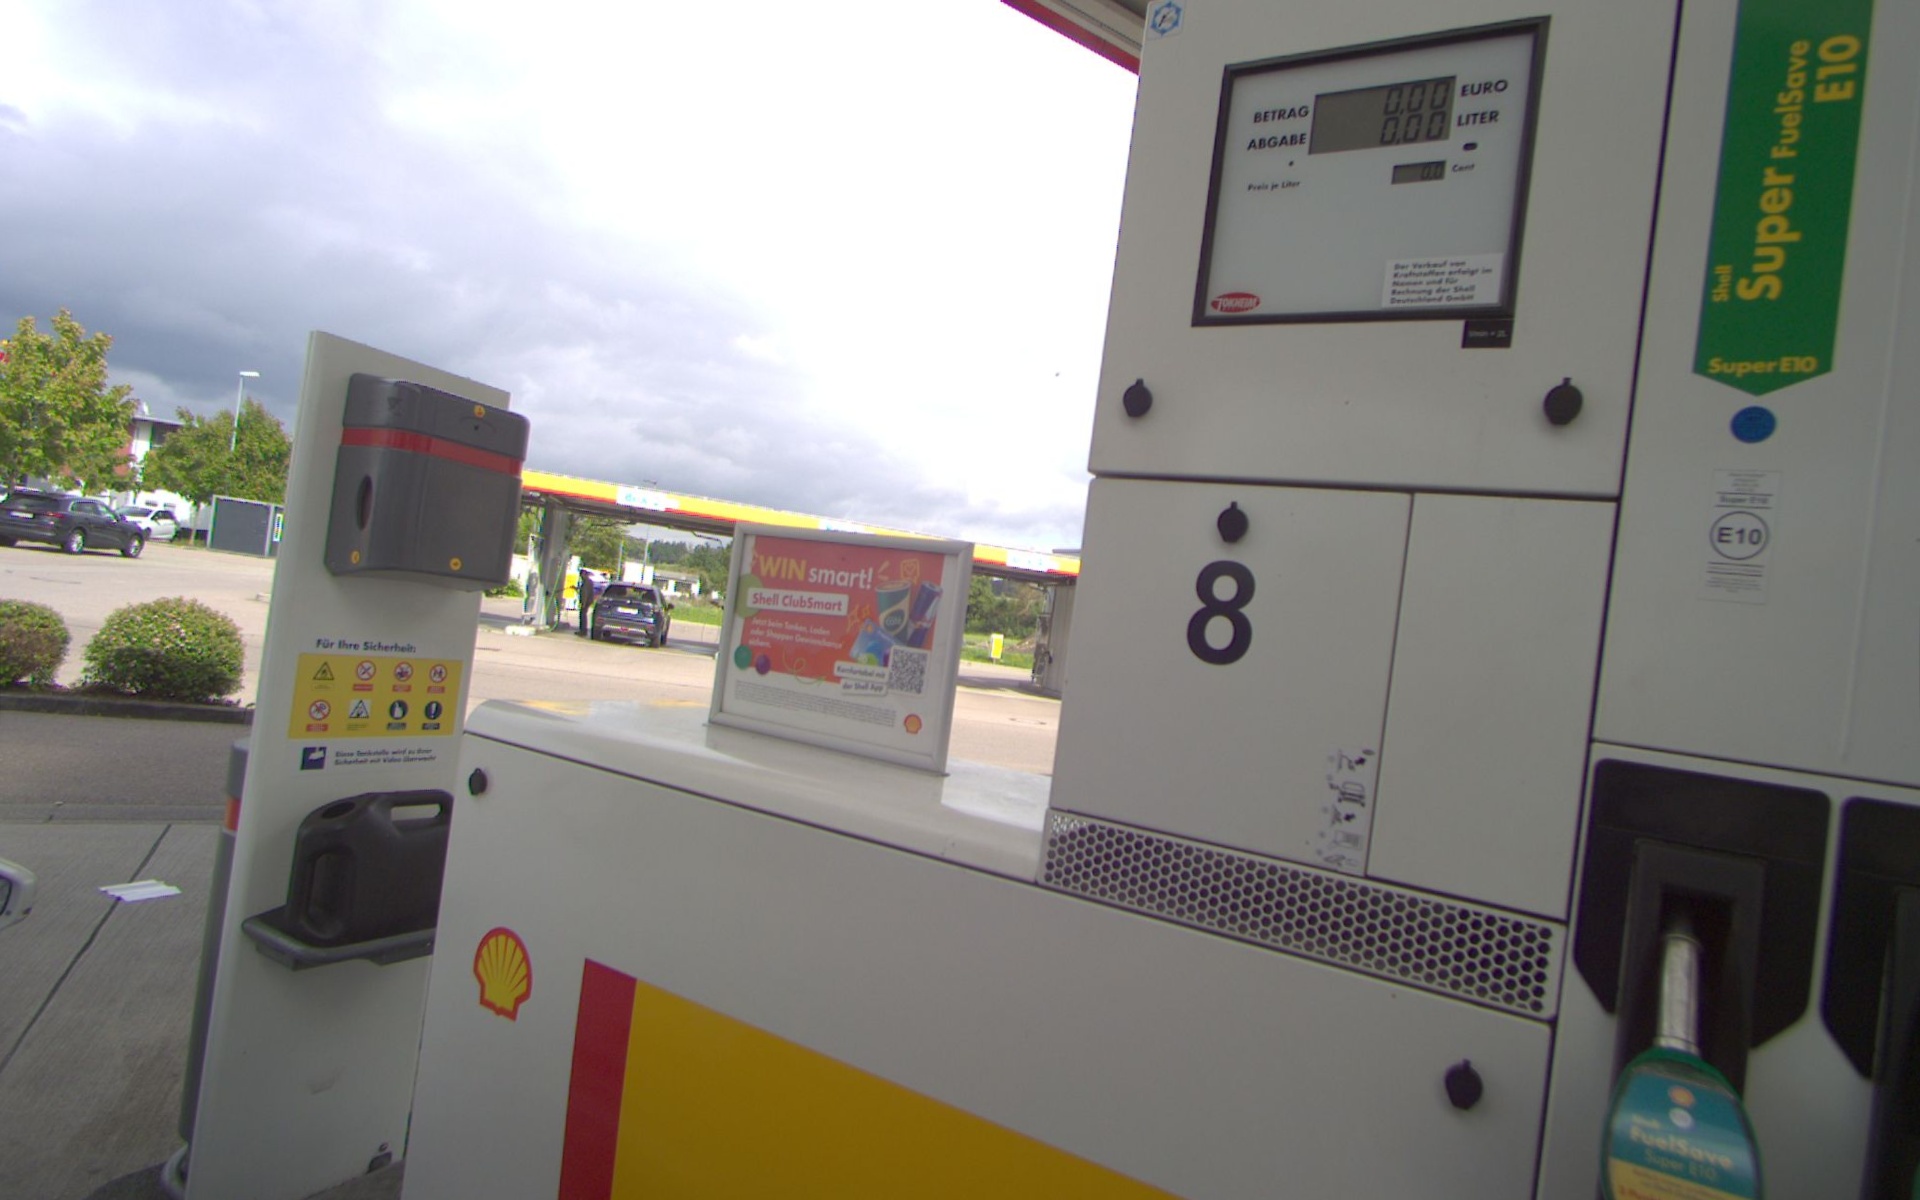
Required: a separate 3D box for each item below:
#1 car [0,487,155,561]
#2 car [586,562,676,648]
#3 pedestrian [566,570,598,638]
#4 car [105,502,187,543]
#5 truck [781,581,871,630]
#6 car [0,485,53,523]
[{"bbox_3d":[-25.921,-2.167,29.267,1.855,1.566,4.498,8,-2,-10],"label":"car"},{"bbox_3d":[-8.689,0.151,26.870,1.696,1.919,3.800,8,-2,-12],"label":"car"},{"bbox_3d":[-10.085,0.093,26.832,0.551,1.742,0.525,8,-1,-26],"label":"pedestrian"},{"bbox_3d":[-35.252,-3.340,43.652,1.346,1.322,3.098,8,-2,-12],"label":"car"},{"bbox_3d":[-13.013,0.553,97.514,7.978,3.575,2.687,8,-2,-19],"label":"truck"},{"bbox_3d":[-57.354,-5.905,60.246,2.149,1.854,4.870,8,-2,-11],"label":"car"}]
